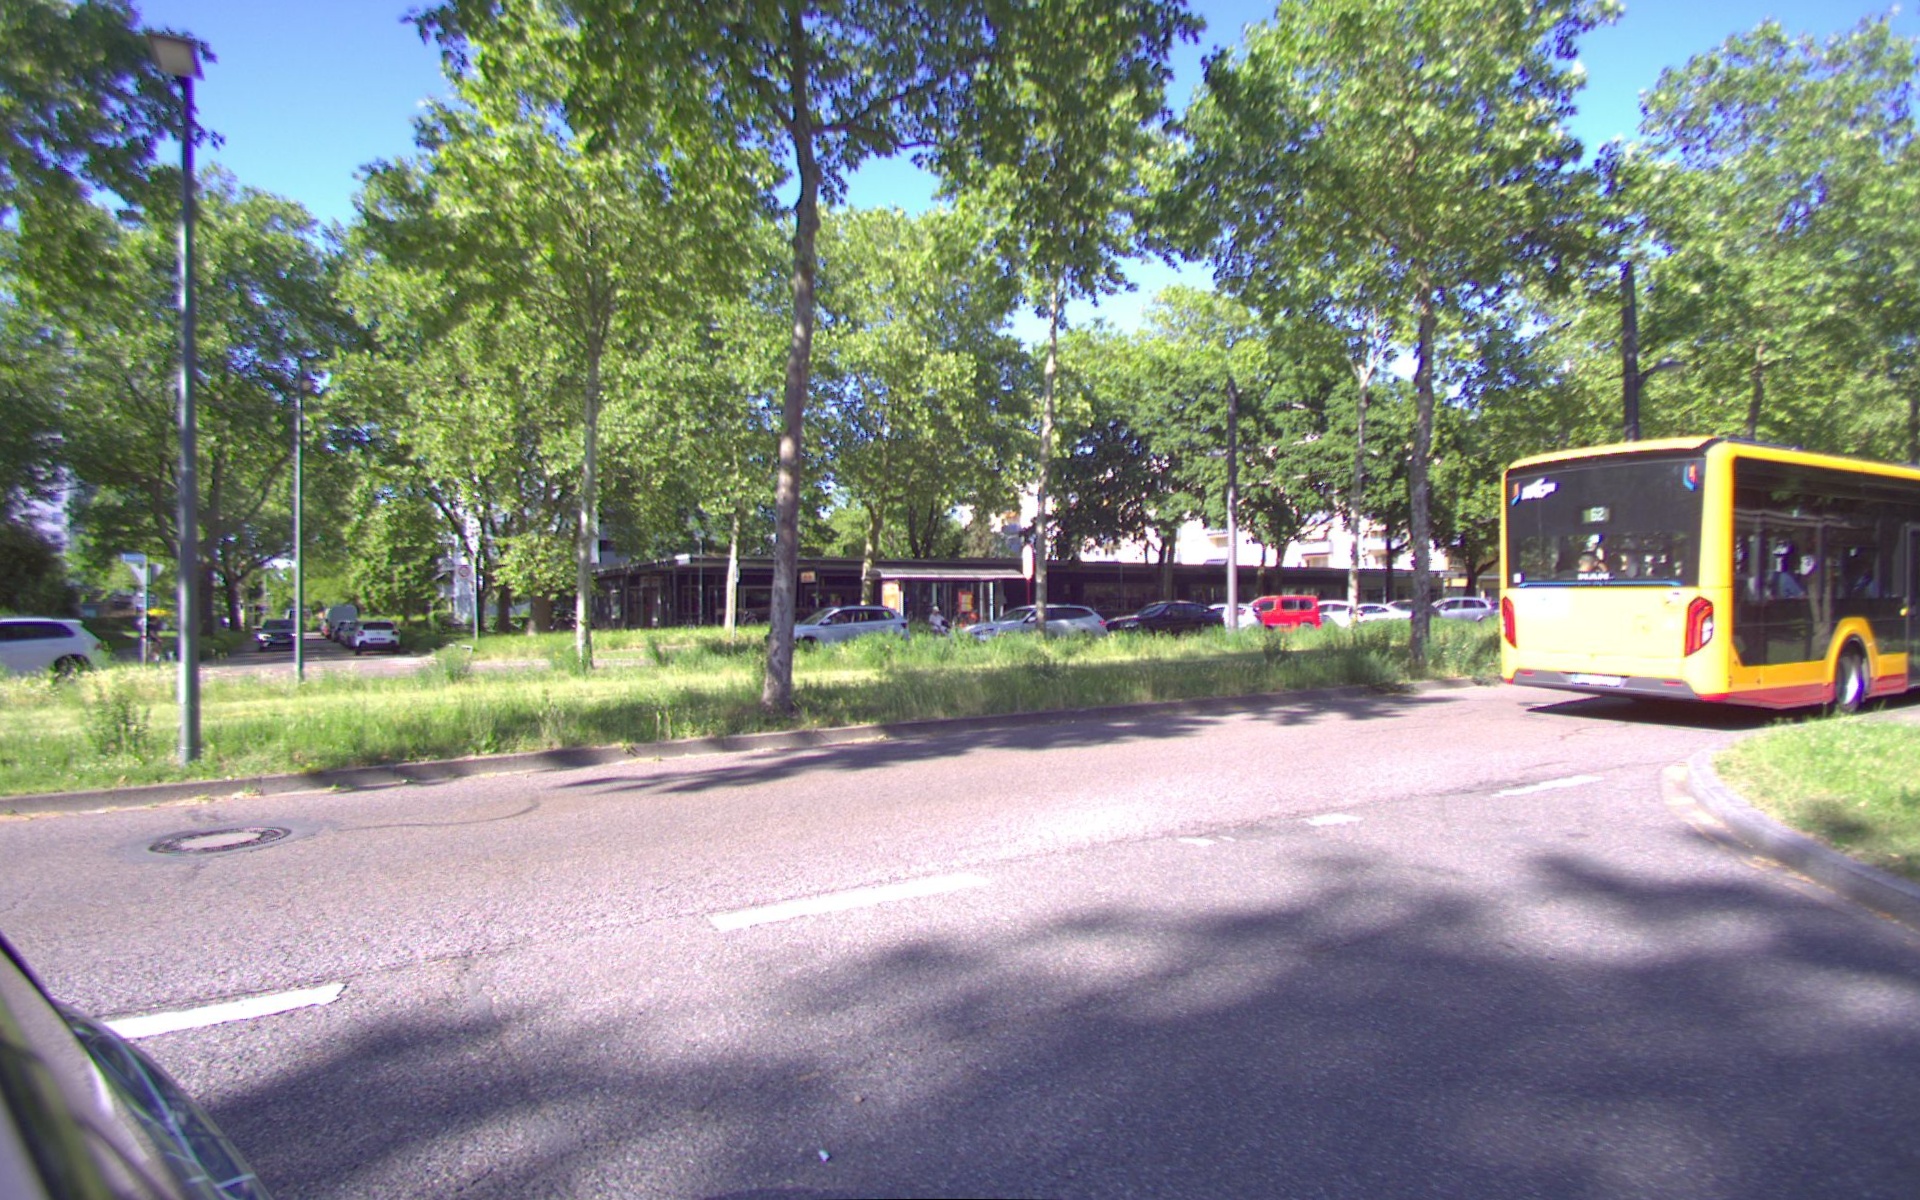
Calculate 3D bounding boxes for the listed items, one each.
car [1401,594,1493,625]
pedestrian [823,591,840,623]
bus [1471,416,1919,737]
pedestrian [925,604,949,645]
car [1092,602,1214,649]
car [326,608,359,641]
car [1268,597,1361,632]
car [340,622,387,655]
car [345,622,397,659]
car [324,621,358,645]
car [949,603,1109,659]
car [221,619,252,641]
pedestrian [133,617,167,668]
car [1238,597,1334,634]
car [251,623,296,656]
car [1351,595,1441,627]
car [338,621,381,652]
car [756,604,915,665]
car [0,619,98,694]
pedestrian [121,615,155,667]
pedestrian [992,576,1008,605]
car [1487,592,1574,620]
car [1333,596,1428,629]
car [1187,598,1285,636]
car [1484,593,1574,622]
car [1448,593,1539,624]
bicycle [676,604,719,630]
[{"bbox_3d":[25.107,0.498,52.276,3.964,1.522,1.791,-1,-1,16],"label":"car"},{"bbox_3d":[-6.690,0.366,52.603,0.639,1.674,0.652,-1,-1,-33],"label":"pedestrian"},{"bbox_3d":[12.507,-0.297,14.560,12.007,3.291,2.918,-1,-1,-29],"label":"bus"},{"bbox_3d":[-0.832,0.883,36.452,0.639,1.471,0.652,-1,-1,-26],"label":"pedestrian"},{"bbox_3d":[6.888,0.878,36.074,3.931,1.522,1.806,-1,-1,-26],"label":"car"},{"bbox_3d":[-49.131,1.935,80.467,2.028,2.455,5.022,-1,-1,-34],"label":"car"},{"bbox_3d":[16.466,0.675,47.212,3.964,1.522,1.791,-1,-1,16],"label":"car"},{"bbox_3d":[-29.273,1.837,49.610,1.770,1.522,4.011,-1,-1,-34],"label":"car"},{"bbox_3d":[-26.119,1.762,44.810,1.770,1.522,4.011,-1,-1,-34],"label":"car"},{"bbox_3d":[-41.235,2.156,67.405,1.770,1.522,4.011,-1,-1,-34],"label":"car"},{"bbox_3d":[2.119,0.885,30.559,4.595,1.522,1.805,-1,-1,-30],"label":"car"},{"bbox_3d":[-54.654,2.256,76.463,1.770,1.522,4.011,-1,-1,-34],"label":"car"},{"bbox_3d":[-27.926,1.448,34.898,0.640,1.718,0.651,-1,-1,-5],"label":"pedestrian"},{"bbox_3d":[14.480,0.693,45.141,3.964,1.522,1.791,-1,-1,16],"label":"car"},{"bbox_3d":[-33.665,1.892,49.680,1.770,1.522,4.011,-1,-1,-34],"label":"car"},{"bbox_3d":[21.851,0.558,50.889,3.968,1.522,1.789,-1,-1,19],"label":"car"},{"bbox_3d":[-31.825,1.909,53.572,1.770,1.522,4.011,-1,-1,-34],"label":"car"},{"bbox_3d":[-3.604,0.956,29.401,4.214,1.592,1.806,-1,-1,-28],"label":"car"},{"bbox_3d":[-20.849,1.202,21.096,1.785,1.522,4.063,-1,-1,18],"label":"car"},{"bbox_3d":[-28.731,1.430,35.387,0.640,1.796,0.651,-1,-1,-4],"label":"pedestrian"},{"bbox_3d":[2.315,-0.574,59.041,0.639,1.674,0.652,-1,-1,-33],"label":"pedestrian"},{"bbox_3d":[32.704,0.338,58.093,3.964,1.522,1.791,-1,-1,16],"label":"car"},{"bbox_3d":[20.191,0.602,48.732,3.964,1.522,1.791,-1,-1,16],"label":"car"},{"bbox_3d":[11.795,0.728,43.353,3.964,1.522,1.791,-1,-1,16],"label":"car"},{"bbox_3d":[31.506,0.427,56.119,3.964,1.522,1.791,-1,-1,16],"label":"car"},{"bbox_3d":[28.502,0.463,54.165,3.964,1.522,1.791,-1,-1,16],"label":"car"},{"bbox_3d":[-11.774,0.771,45.427,1.771,1.116,0.557,-1,-1,-37],"label":"bicycle"}]
